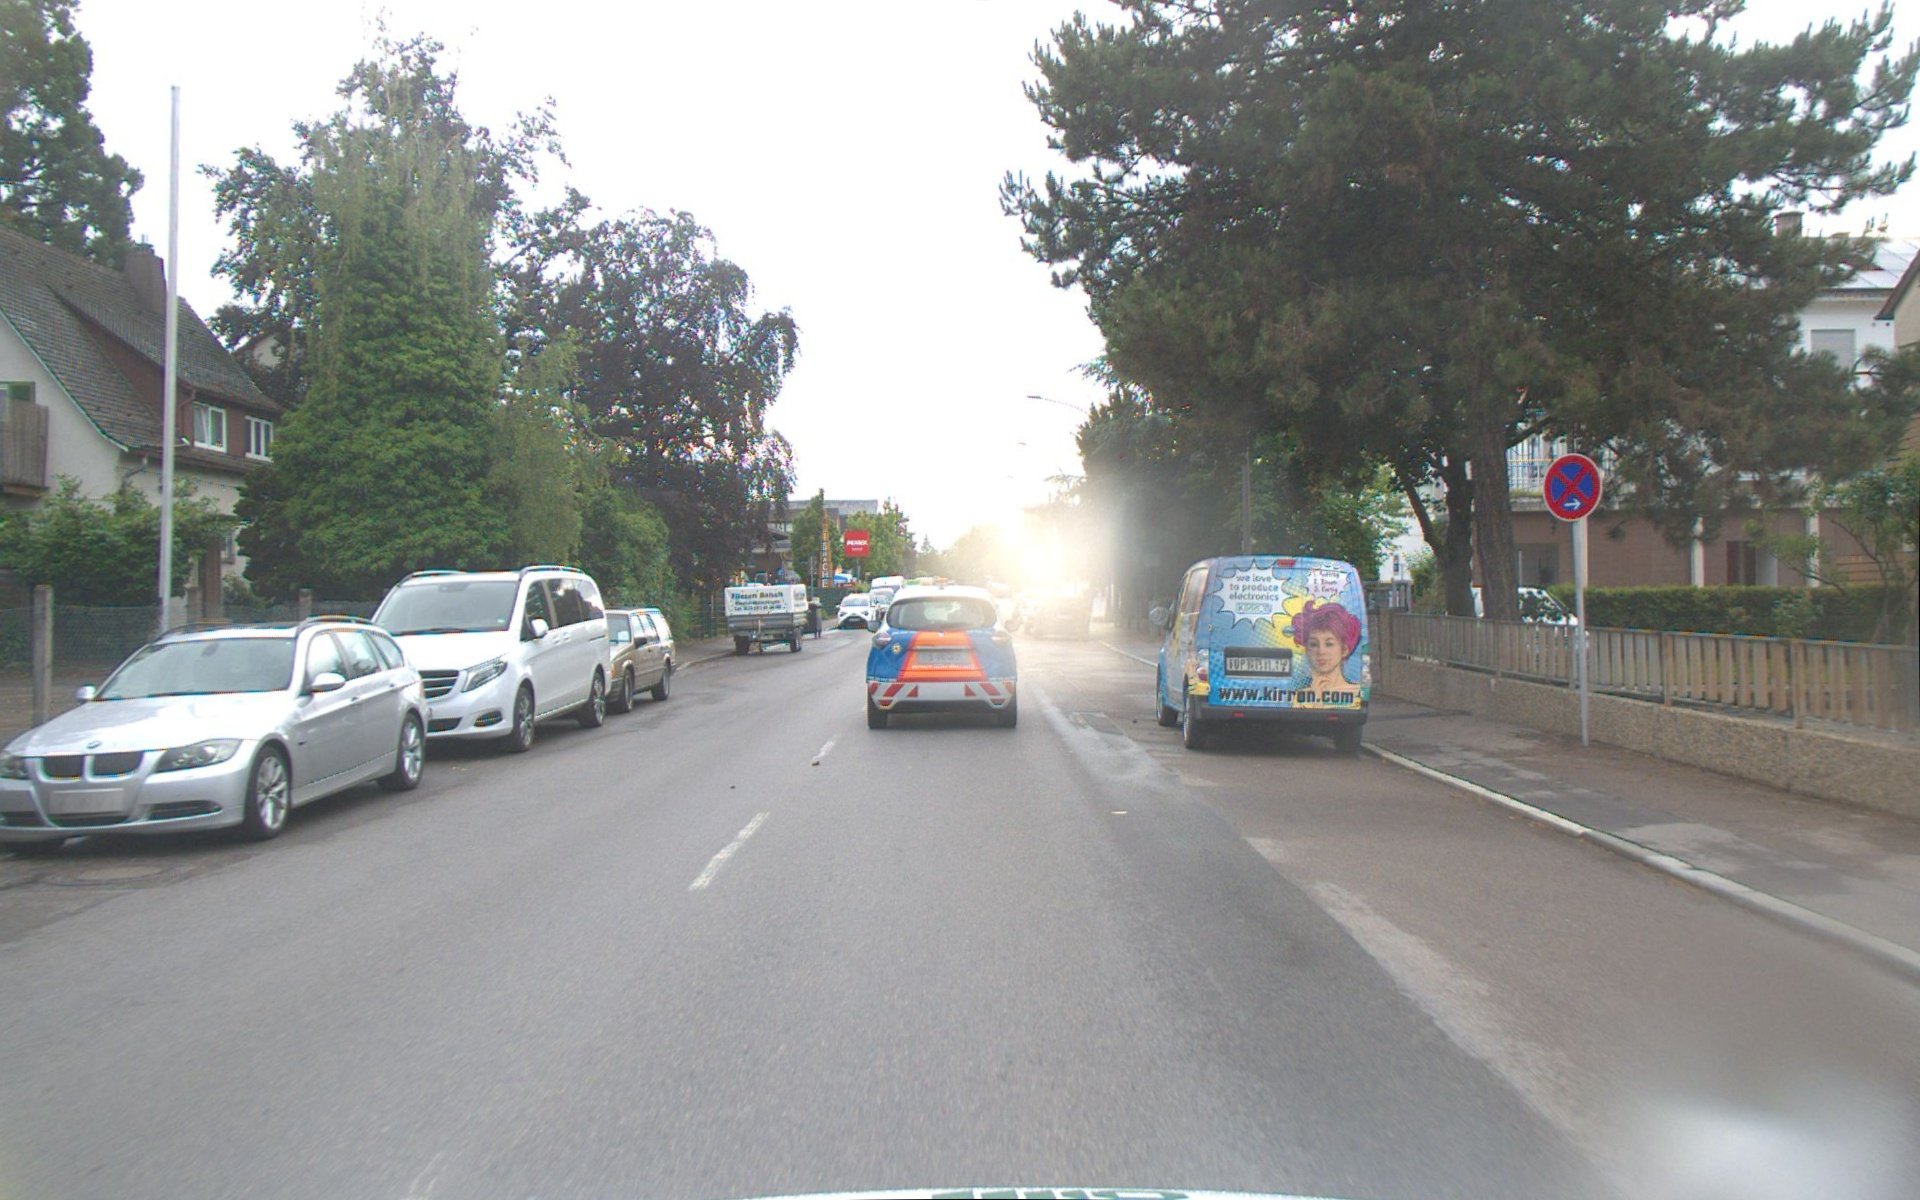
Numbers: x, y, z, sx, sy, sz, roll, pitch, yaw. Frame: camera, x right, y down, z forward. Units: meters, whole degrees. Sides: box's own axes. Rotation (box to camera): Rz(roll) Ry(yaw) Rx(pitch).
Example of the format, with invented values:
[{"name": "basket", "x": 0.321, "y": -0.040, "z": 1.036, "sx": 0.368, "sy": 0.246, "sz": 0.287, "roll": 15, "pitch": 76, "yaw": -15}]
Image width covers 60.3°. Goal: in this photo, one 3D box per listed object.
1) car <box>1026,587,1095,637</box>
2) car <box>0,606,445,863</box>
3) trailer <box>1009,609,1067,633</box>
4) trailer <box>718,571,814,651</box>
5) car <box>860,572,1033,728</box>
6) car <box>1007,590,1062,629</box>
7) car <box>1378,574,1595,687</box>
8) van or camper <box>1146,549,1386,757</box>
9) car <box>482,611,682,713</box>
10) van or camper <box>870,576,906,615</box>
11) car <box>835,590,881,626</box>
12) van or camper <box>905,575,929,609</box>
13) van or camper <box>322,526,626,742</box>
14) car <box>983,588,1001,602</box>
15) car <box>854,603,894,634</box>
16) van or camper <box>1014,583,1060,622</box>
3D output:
[{"name": "car", "x": 3.272, "y": 0.364, "z": 54.621, "sx": 1.953, "sy": 1.563, "sz": 3.999, "roll": -1, "pitch": 0, "yaw": -1}, {"name": "car", "x": -5.339, "y": 0.890, "z": 12.132, "sx": 1.706, "sy": 1.506, "sz": 4.183, "roll": -2, "pitch": -2, "yaw": 1}, {"name": "trailer", "x": 2.787, "y": 0.741, "z": 59.350, "sx": 1.899, "sy": 0.767, "sz": 2.859, "roll": -1, "pitch": 0, "yaw": -1}, {"name": "trailer", "x": -5.193, "y": 0.269, "z": 44.859, "sx": 2.175, "sy": 2.049, "sz": 4.435, "roll": -1, "pitch": 0, "yaw": -1}, {"name": "car", "x": -0.138, "y": 0.530, "z": 19.778, "sx": 1.850, "sy": 1.660, "sz": 4.000, "roll": -1, "pitch": 0, "yaw": 0}, {"name": "car", "x": 2.883, "y": 0.351, "z": 64.688, "sx": 1.820, "sy": 1.480, "sz": 3.521, "roll": -1, "pitch": 0, "yaw": -2}, {"name": "car", "x": 7.803, "y": 0.486, "z": 24.906, "sx": 1.953, "sy": 1.512, "sz": 3.999, "roll": 2, "pitch": -2, "yaw": -1}, {"name": "van or camper", "x": 3.063, "y": 0.477, "z": 17.350, "sx": 1.718, "sy": 1.916, "sz": 3.999, "roll": -1, "pitch": 0, "yaw": -1}, {"name": "car", "x": -5.421, "y": 0.849, "z": 24.245, "sx": 1.952, "sy": 1.310, "sz": 4.000, "roll": -1, "pitch": 0, "yaw": 1}, {"name": "van or camper", "x": -4.471, "y": -0.280, "z": 103.151, "sx": 2.117, "sy": 2.394, "sz": 4.333, "roll": -1, "pitch": 0, "yaw": -1}, {"name": "car", "x": -4.695, "y": 0.346, "z": 76.732, "sx": 1.953, "sy": 1.624, "sz": 3.999, "roll": -1, "pitch": 0, "yaw": -1}, {"name": "van or camper", "x": -3.622, "y": -0.668, "z": 140.834, "sx": 1.953, "sy": 2.823, "sz": 5.439, "roll": -1, "pitch": 0, "yaw": -1}, {"name": "van or camper", "x": -5.230, "y": 0.412, "z": 18.611, "sx": 1.852, "sy": 2.049, "sz": 5.096, "roll": 2, "pitch": -2, "yaw": 0}, {"name": "car", "x": 3.743, "y": -0.621, "z": 192.266, "sx": 1.953, "sy": 1.613, "sz": 3.999, "roll": -1, "pitch": 0, "yaw": -1}, {"name": "car", "x": -4.603, "y": 0.978, "z": 88.771, "sx": 1.953, "sy": 1.557, "sz": 3.999, "roll": -1, "pitch": 0, "yaw": -1}, {"name": "van or camper", "x": 3.657, "y": 0.100, "z": 79.326, "sx": 1.953, "sy": 1.816, "sz": 3.999, "roll": -1, "pitch": 0, "yaw": -1}]
